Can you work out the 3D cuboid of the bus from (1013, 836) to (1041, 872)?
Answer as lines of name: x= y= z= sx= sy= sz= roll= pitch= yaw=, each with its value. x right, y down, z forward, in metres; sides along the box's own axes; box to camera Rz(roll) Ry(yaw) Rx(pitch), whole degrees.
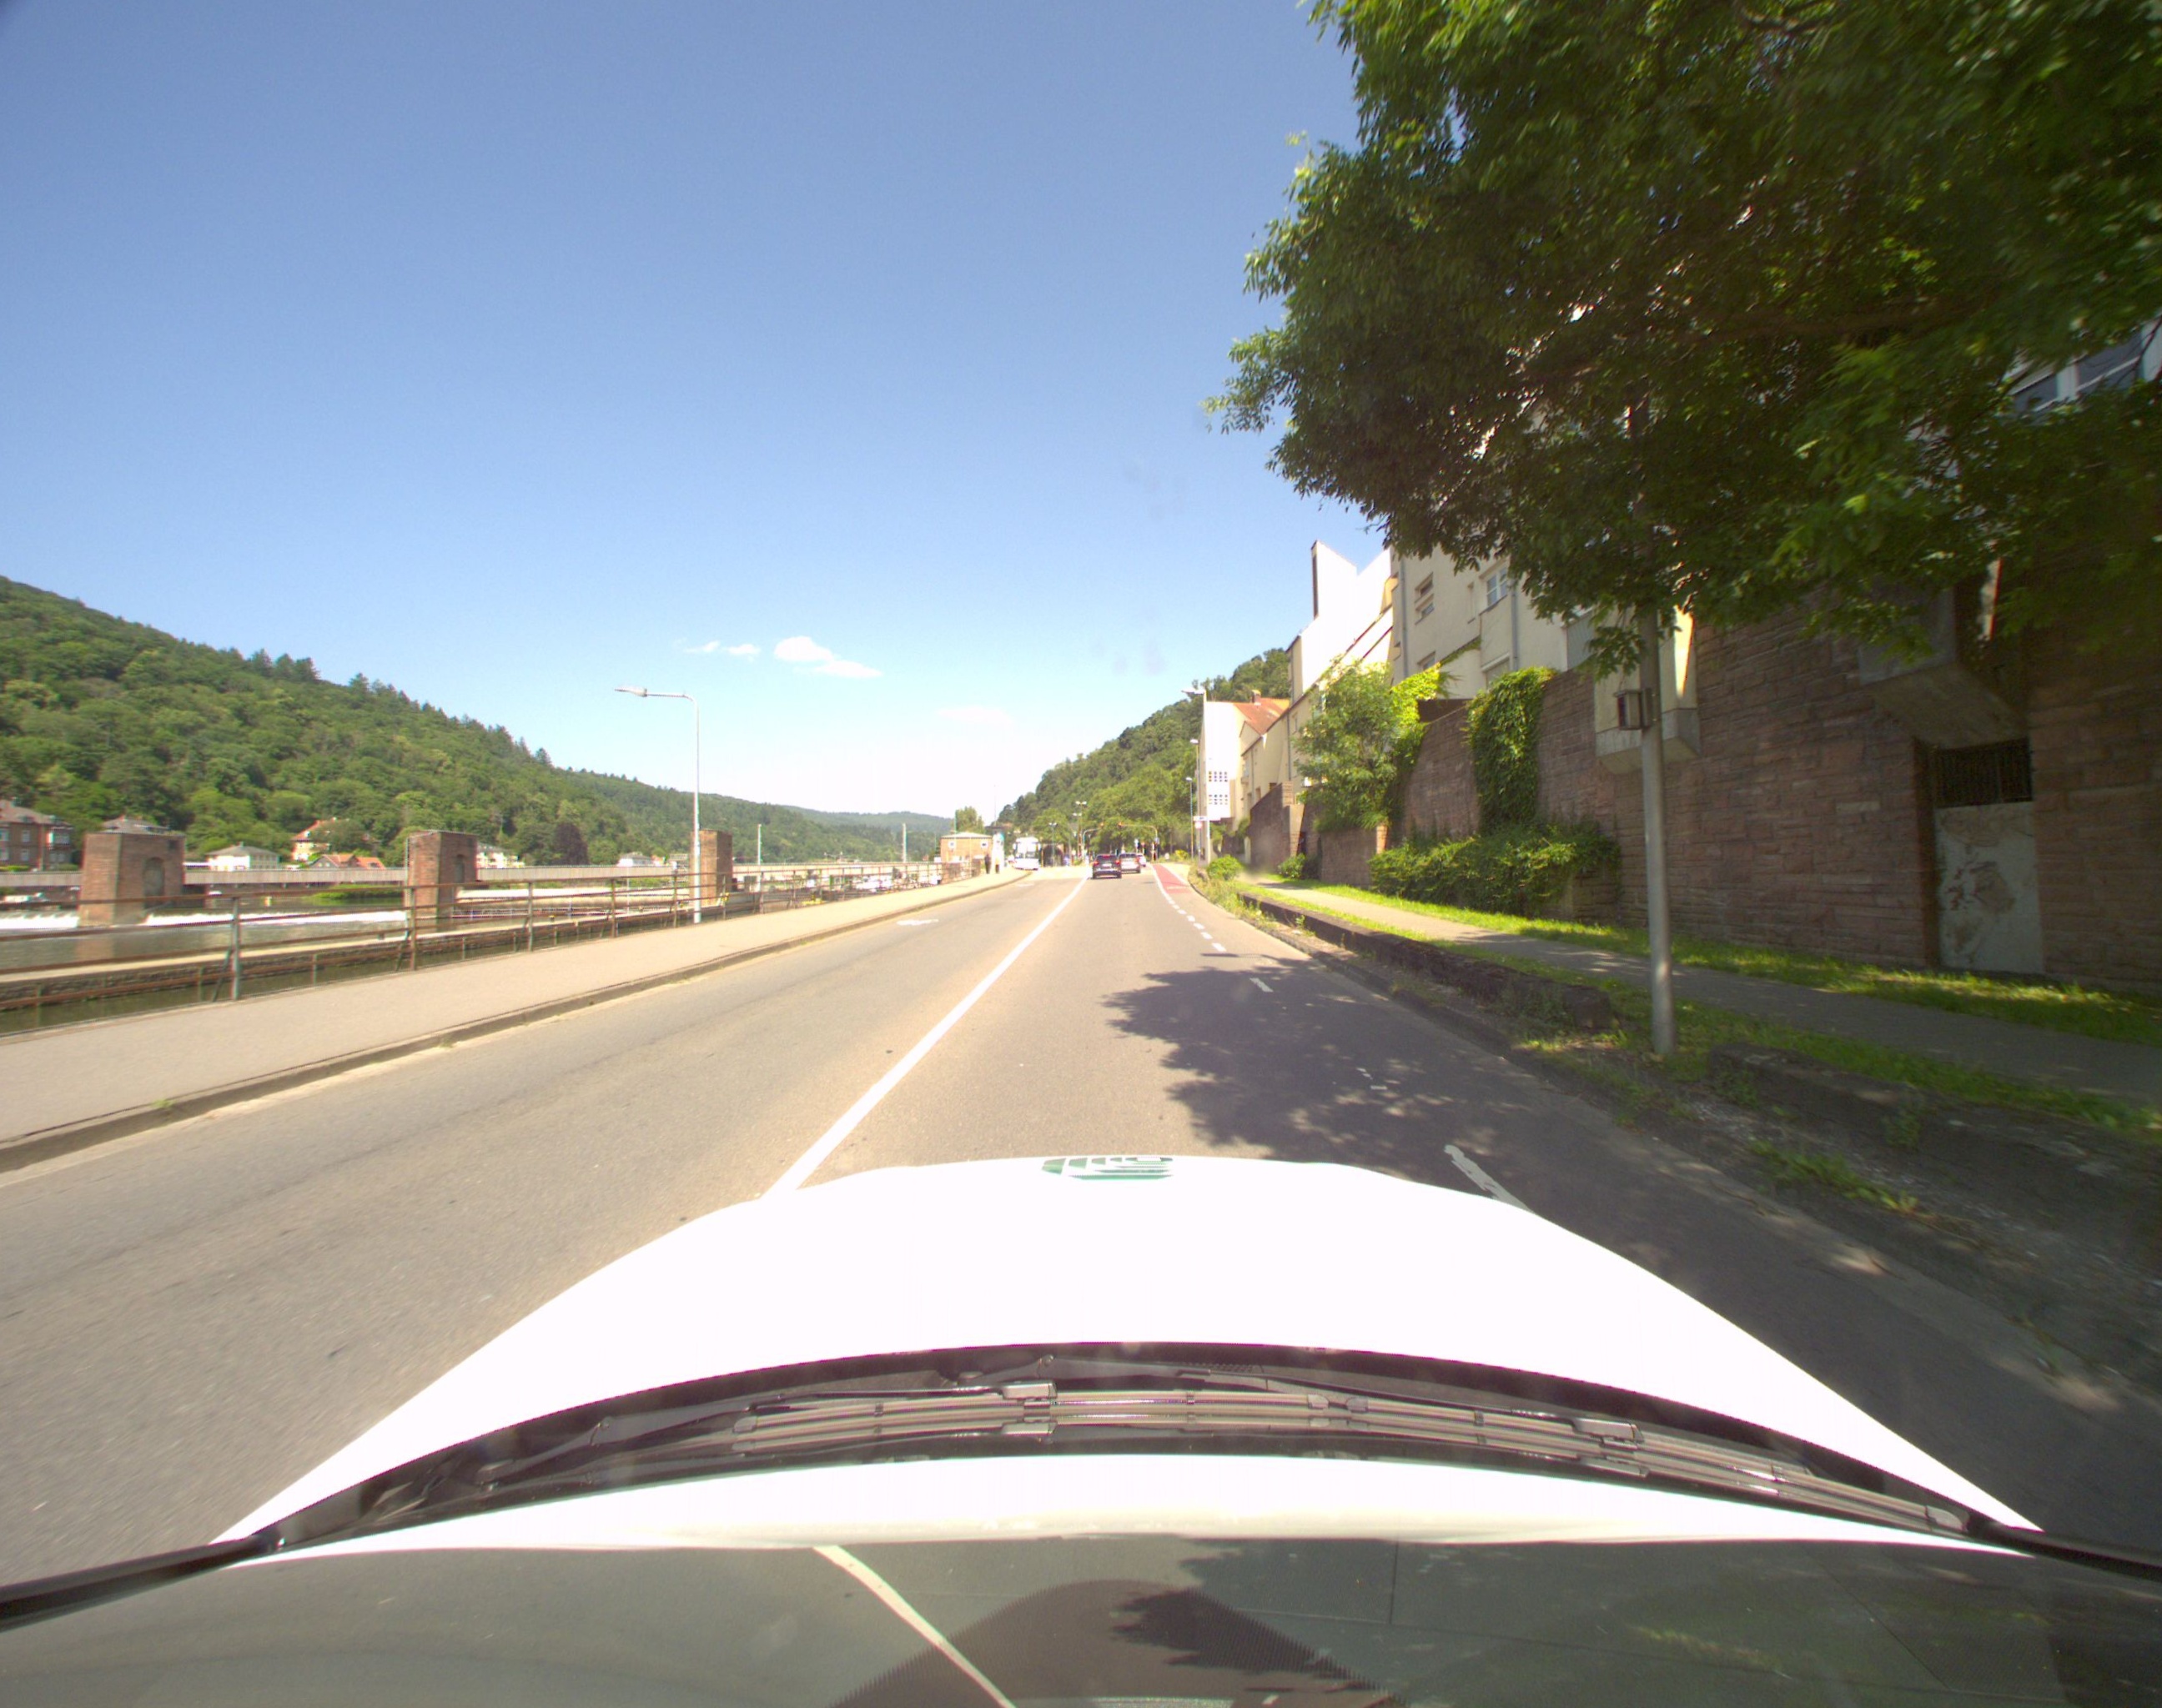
bus: x=-6.144 y=0.091 z=94.488 sx=2.950 sy=3.801 sz=13.229 roll=-1 pitch=-1 yaw=-3

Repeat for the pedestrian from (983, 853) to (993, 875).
pedestrian: x=-7.320 y=0.770 z=64.190 sx=0.680 sy=1.709 sz=0.774 roll=-1 pitch=-1 yaw=2

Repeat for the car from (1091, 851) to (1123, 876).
car: x=1.634 y=0.582 z=50.356 sx=1.862 sy=1.514 sz=4.153 roll=0 pitch=-1 yaw=2

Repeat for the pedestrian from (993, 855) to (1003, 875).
pedestrian: x=-6.715 y=0.914 z=66.258 sx=0.700 sy=1.621 sz=0.817 roll=-1 pitch=-1 yaw=0

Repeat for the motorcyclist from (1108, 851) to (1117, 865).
motorcyclist: x=4.024 y=0.492 z=105.563 sx=1.072 sy=1.684 sz=1.156 roll=-3 pitch=0 yaw=1

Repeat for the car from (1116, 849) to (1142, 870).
car: x=3.487 y=0.415 z=59.919 sx=1.881 sy=1.521 sz=4.308 roll=0 pitch=-1 yaw=2

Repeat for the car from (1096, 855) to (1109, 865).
car: x=3.145 y=0.814 z=119.710 sx=1.861 sy=1.359 sz=3.999 roll=-2 pitch=0 yaw=0

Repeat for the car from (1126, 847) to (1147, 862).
car: x=5.639 y=0.070 z=82.846 sx=1.986 sy=1.534 sz=4.861 roll=0 pitch=-1 yaw=2
